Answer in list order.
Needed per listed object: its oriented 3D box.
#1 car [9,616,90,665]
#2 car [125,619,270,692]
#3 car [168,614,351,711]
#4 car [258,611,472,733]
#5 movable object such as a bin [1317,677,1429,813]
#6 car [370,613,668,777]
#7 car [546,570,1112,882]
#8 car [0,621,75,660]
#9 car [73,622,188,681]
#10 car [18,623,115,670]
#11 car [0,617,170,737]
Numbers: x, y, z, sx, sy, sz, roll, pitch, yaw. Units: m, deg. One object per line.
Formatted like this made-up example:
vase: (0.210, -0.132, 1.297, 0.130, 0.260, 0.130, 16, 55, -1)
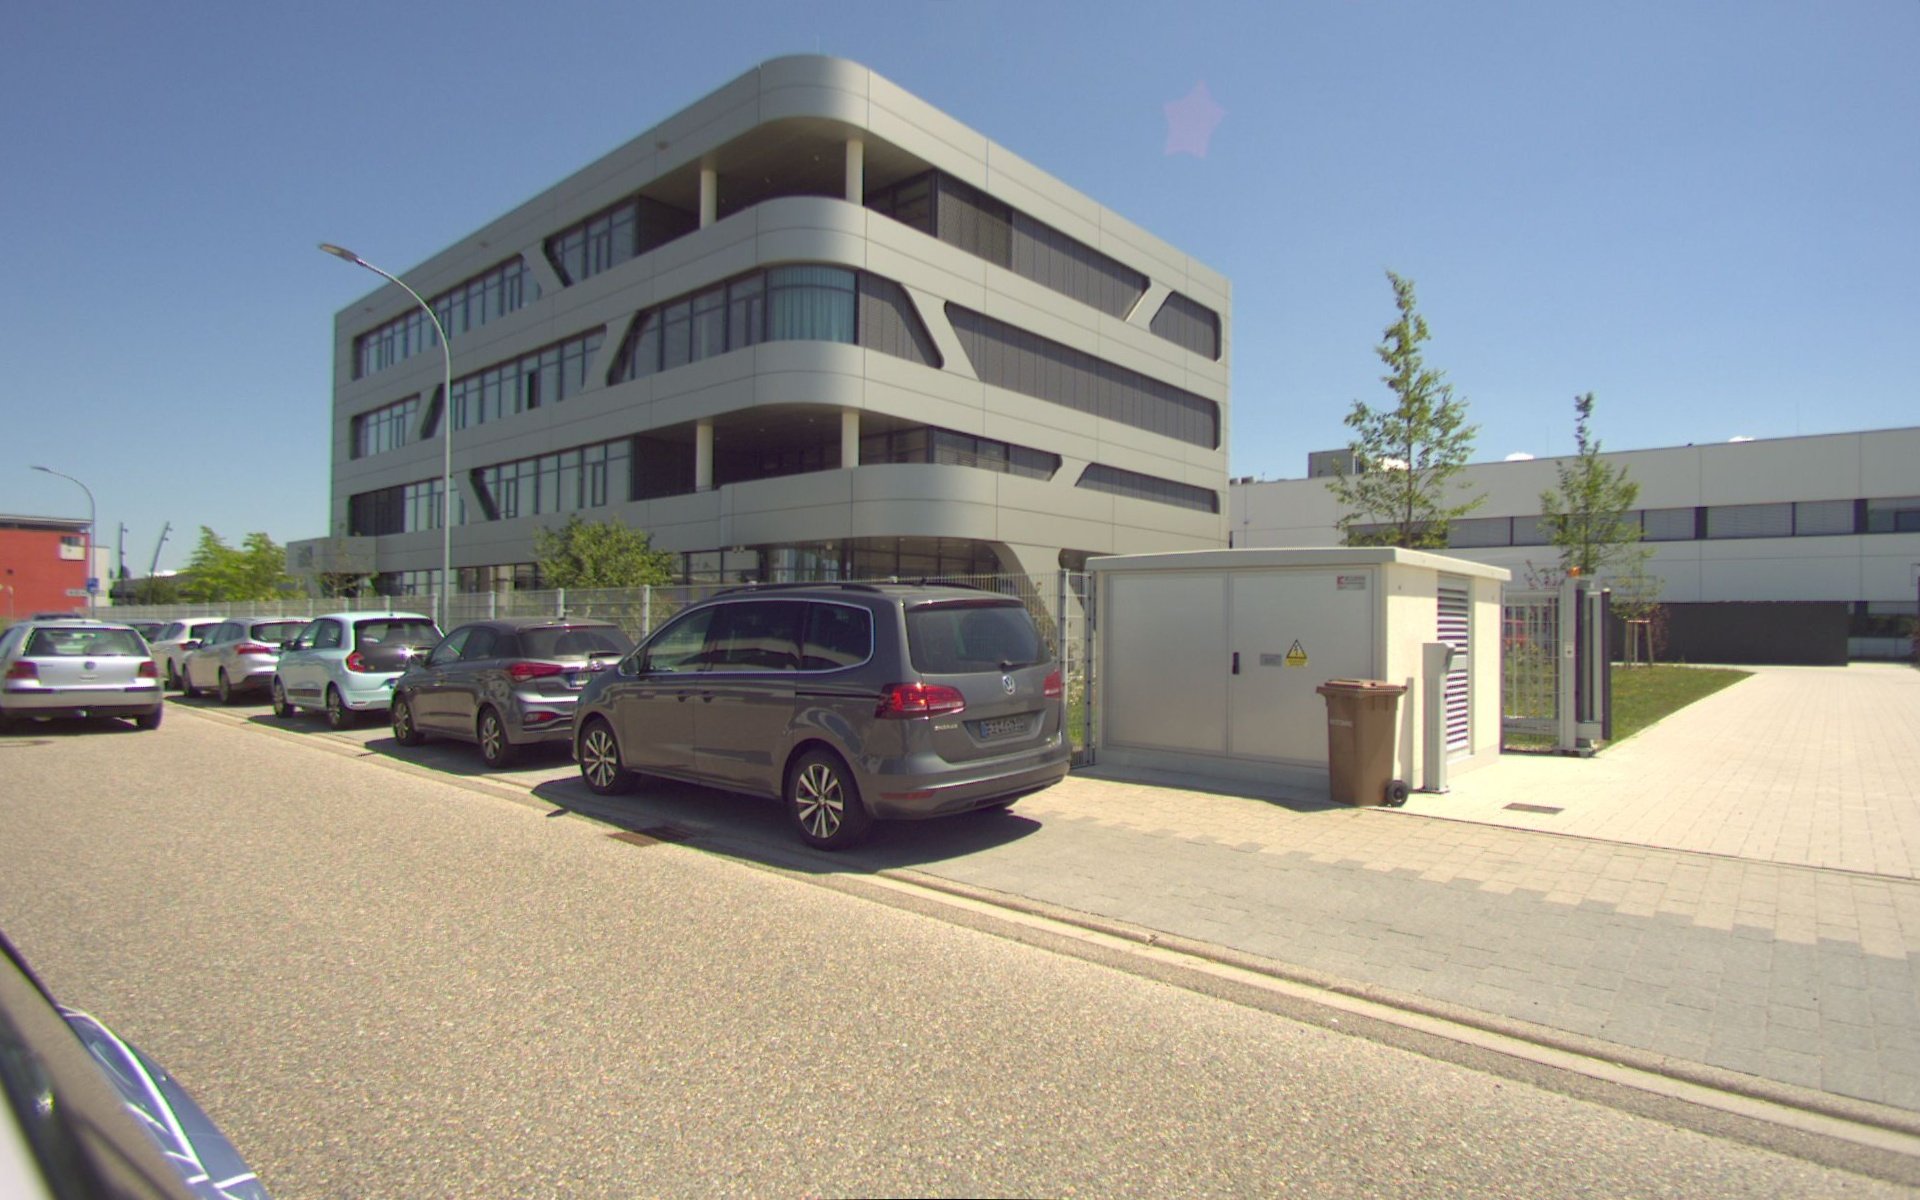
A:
car: (-32.679, 1.431, 36.282, 4.851, 1.664, 1.750, -2, -2, 43)
car: (-16.927, 1.153, 22.398, 4.437, 1.454, 1.685, -1, -1, 41)
car: (-12.911, 1.043, 18.531, 4.569, 1.548, 1.685, -1, -1, 41)
car: (-8.753, 0.954, 14.780, 3.656, 1.548, 1.618, -1, -1, 41)
movable object such as a bin: (3.111, 1.076, 7.652, 0.594, 0.952, 0.517, 0, -1, -8)
car: (-5.059, 0.912, 11.359, 3.971, 1.512, 1.617, -1, -1, 43)
car: (-1.263, 0.727, 7.851, 4.621, 1.732, 1.783, -1, -1, 42)
car: (-36.542, 1.578, 39.960, 4.182, 1.477, 1.752, -2, -2, 39)
car: (-21.618, 1.297, 26.314, 4.638, 1.396, 1.666, -2, -2, 42)
car: (-28.325, 1.438, 32.049, 3.933, 1.396, 1.682, -2, -2, 39)
car: (-12.711, 0.987, 14.190, 4.782, 1.422, 1.686, -1, -4, 42)
